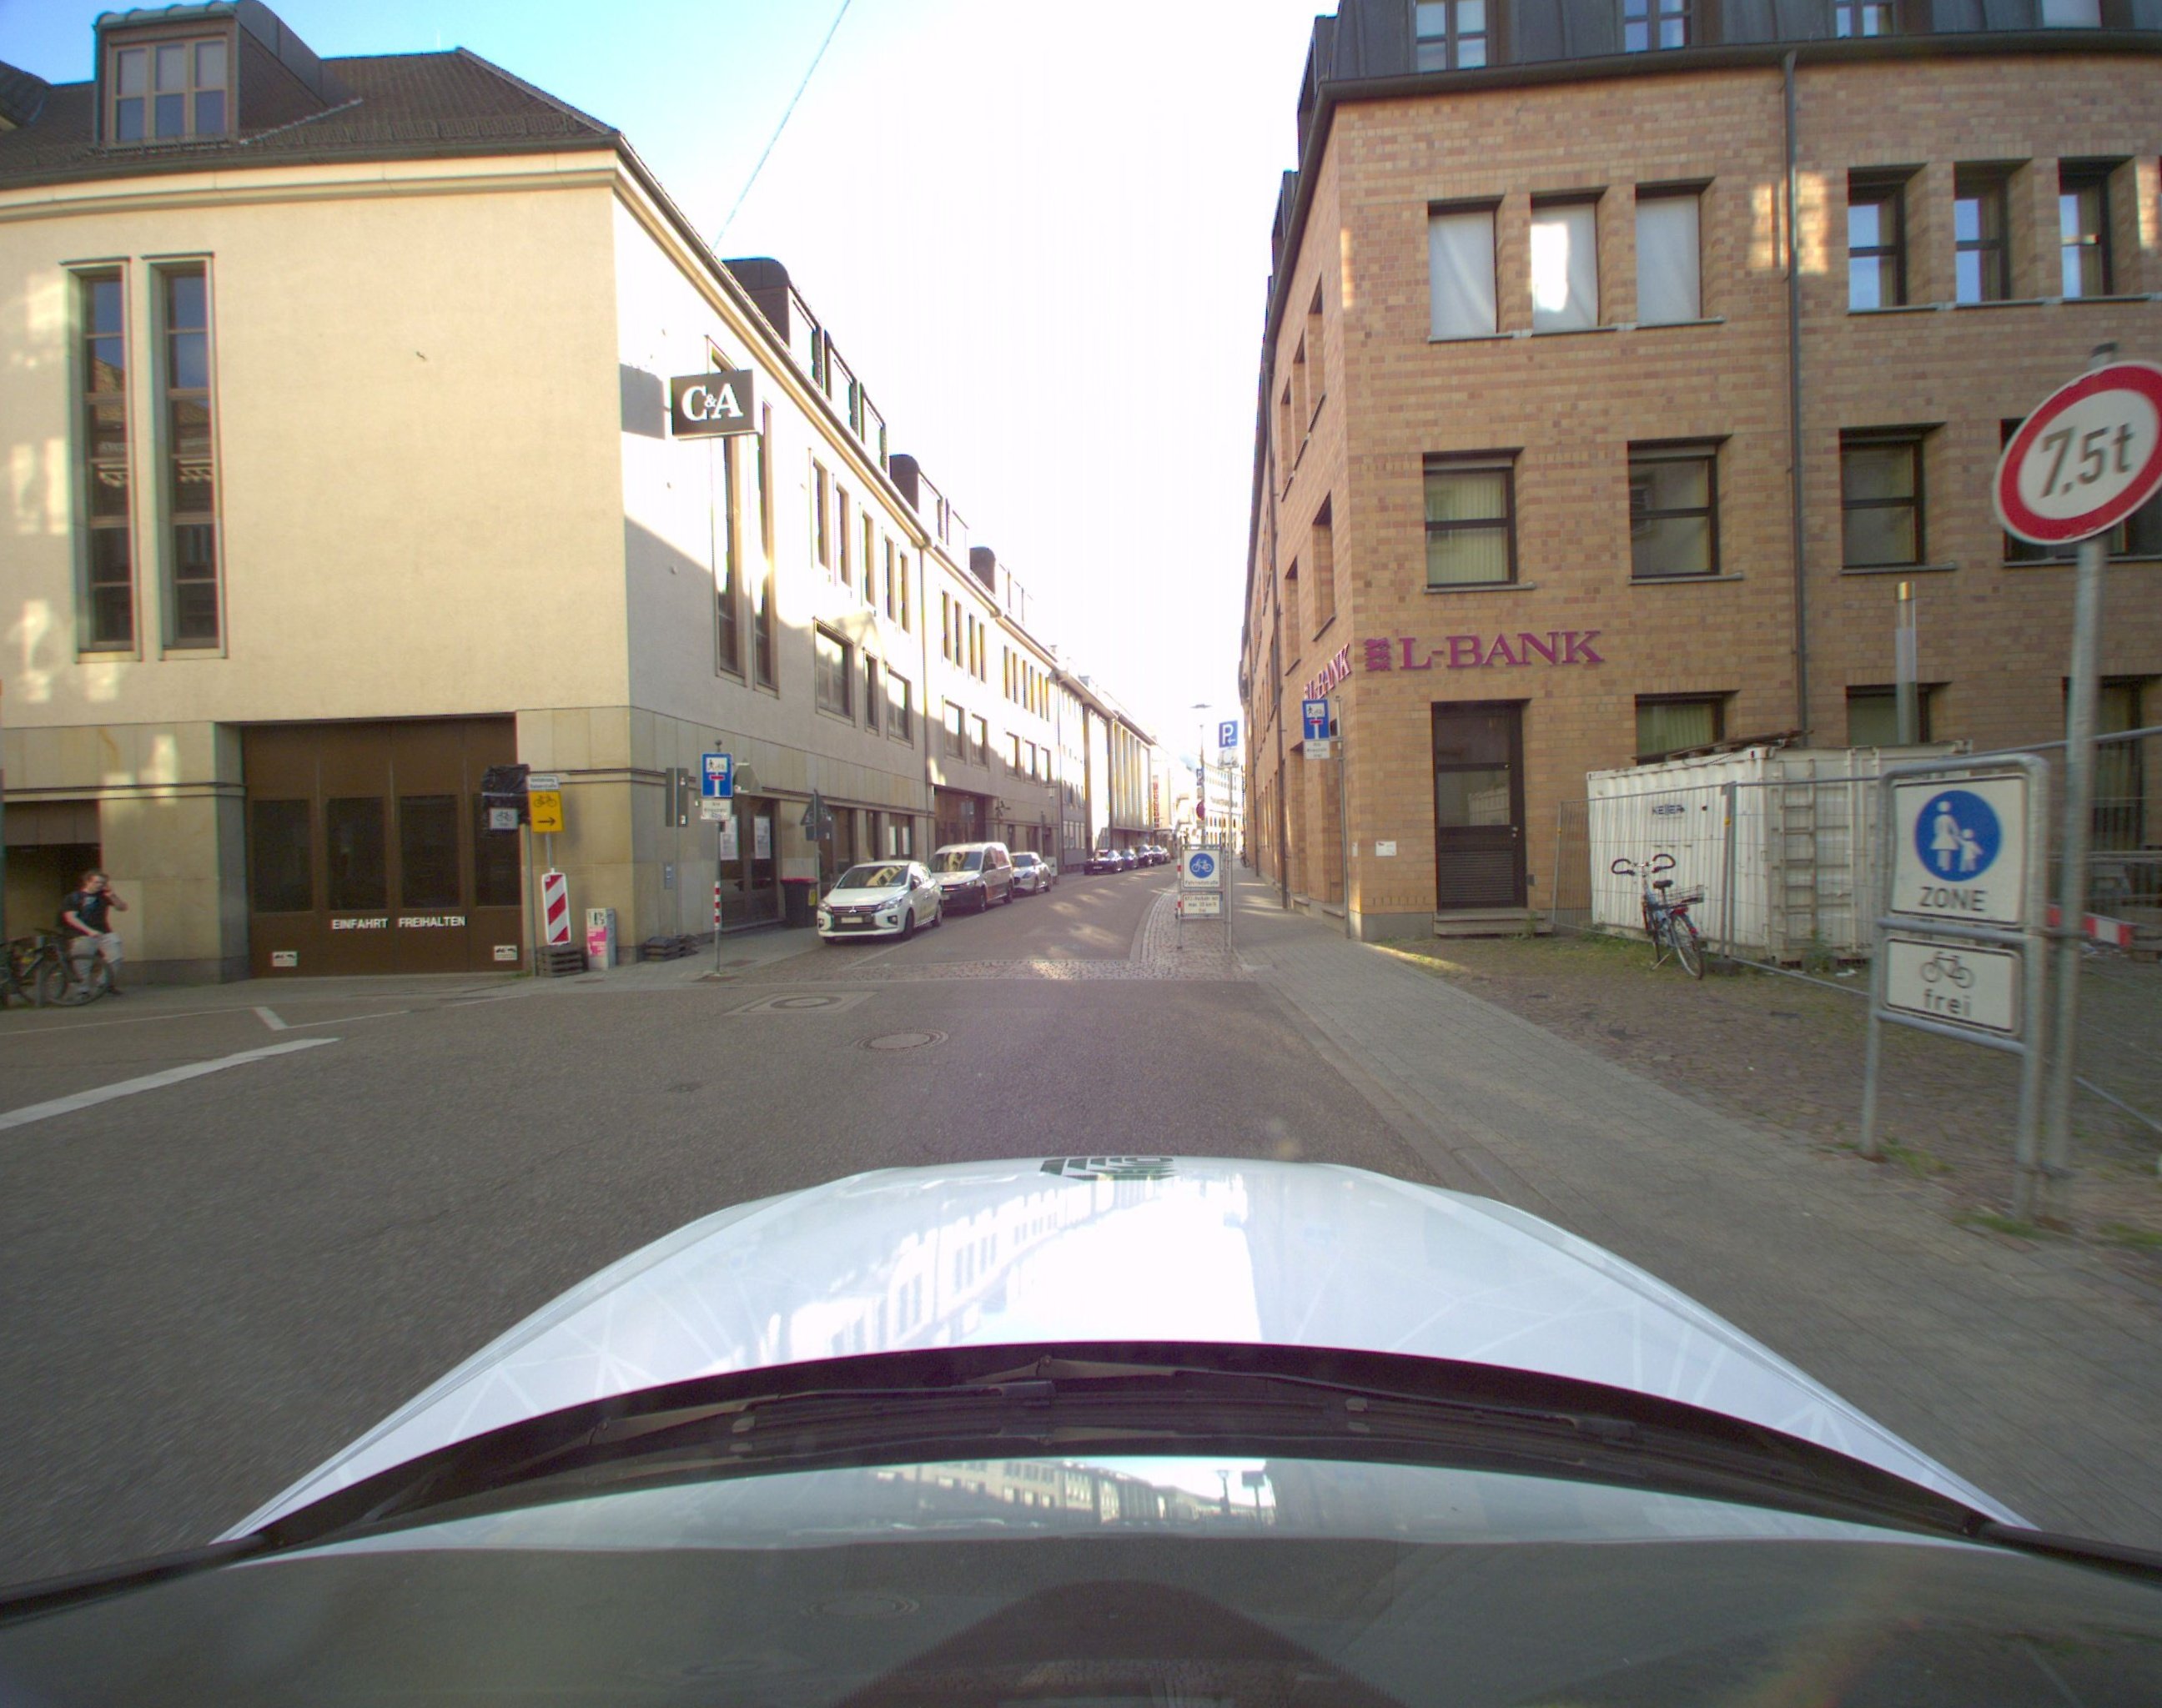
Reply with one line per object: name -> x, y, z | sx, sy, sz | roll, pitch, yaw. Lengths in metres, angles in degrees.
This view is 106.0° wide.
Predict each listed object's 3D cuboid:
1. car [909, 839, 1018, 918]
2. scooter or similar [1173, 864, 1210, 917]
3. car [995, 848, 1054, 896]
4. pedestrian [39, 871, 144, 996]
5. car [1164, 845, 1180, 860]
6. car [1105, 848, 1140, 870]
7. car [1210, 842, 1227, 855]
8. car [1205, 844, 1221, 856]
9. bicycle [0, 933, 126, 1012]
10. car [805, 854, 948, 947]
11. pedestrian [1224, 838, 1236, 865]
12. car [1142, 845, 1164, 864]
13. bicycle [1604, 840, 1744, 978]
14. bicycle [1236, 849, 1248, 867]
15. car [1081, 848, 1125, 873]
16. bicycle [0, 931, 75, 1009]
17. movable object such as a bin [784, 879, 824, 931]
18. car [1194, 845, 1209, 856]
car -> -3.056, 0.571, 22.110 | 1.661, 1.818, 4.561 | -3, 0, 7
scooter or similar -> 2.386, 0.781, 17.561 | 0.767, 1.136, 0.269 | 0, 0, 4
car -> -1.902, 0.578, 28.277 | 1.264, 1.507, 3.410 | -3, 0, 8
pedestrian -> -14.181, 1.109, 11.695 | 0.693, 1.702, 0.660 | -1, 0, -23
car -> 9.584, -0.210, 85.586 | 1.330, 1.494, 3.358 | -2, 0, 12
car -> 2.821, 0.318, 54.829 | 1.713, 1.340, 4.013 | -2, 0, 12
car -> 16.313, -0.688, 96.315 | 1.677, 1.370, 3.631 | -2, 0, 14
car -> 16.761, -0.510, 103.616 | 1.677, 1.370, 3.631 | -2, 0, 14
bicycle -> -13.902, 1.586, 10.891 | 1.694, 0.965, 0.224 | -2, 0, -10
car -> -3.916, 0.825, 16.259 | 1.664, 1.507, 3.796 | -3, 0, 2
pedestrian -> 9.655, -0.152, 52.766 | 0.662, 1.730, 0.840 | 0, 0, 1
car -> 6.011, -0.004, 67.929 | 1.330, 1.494, 3.521 | -2, 0, 12
bicycle -> 6.222, 0.524, 8.643 | 0.546, 1.317, 1.653 | -2, 0, 13
bicycle -> 9.681, 0.226, 49.075 | 0.508, 0.994, 2.654 | -2, 0, 8
car -> 1.358, 0.349, 48.559 | 1.869, 1.332, 4.114 | -2, 0, 12
bicycle -> -14.674, 1.586, 11.050 | 1.482, 1.004, 0.270 | -2, 0, -8
movable object such as a bin -> -5.921, 1.086, 17.450 | 0.607, 1.060, 0.713 | 0, 0, -1
car -> 16.273, -0.427, 110.066 | 1.677, 1.370, 3.631 | -2, 0, 14
